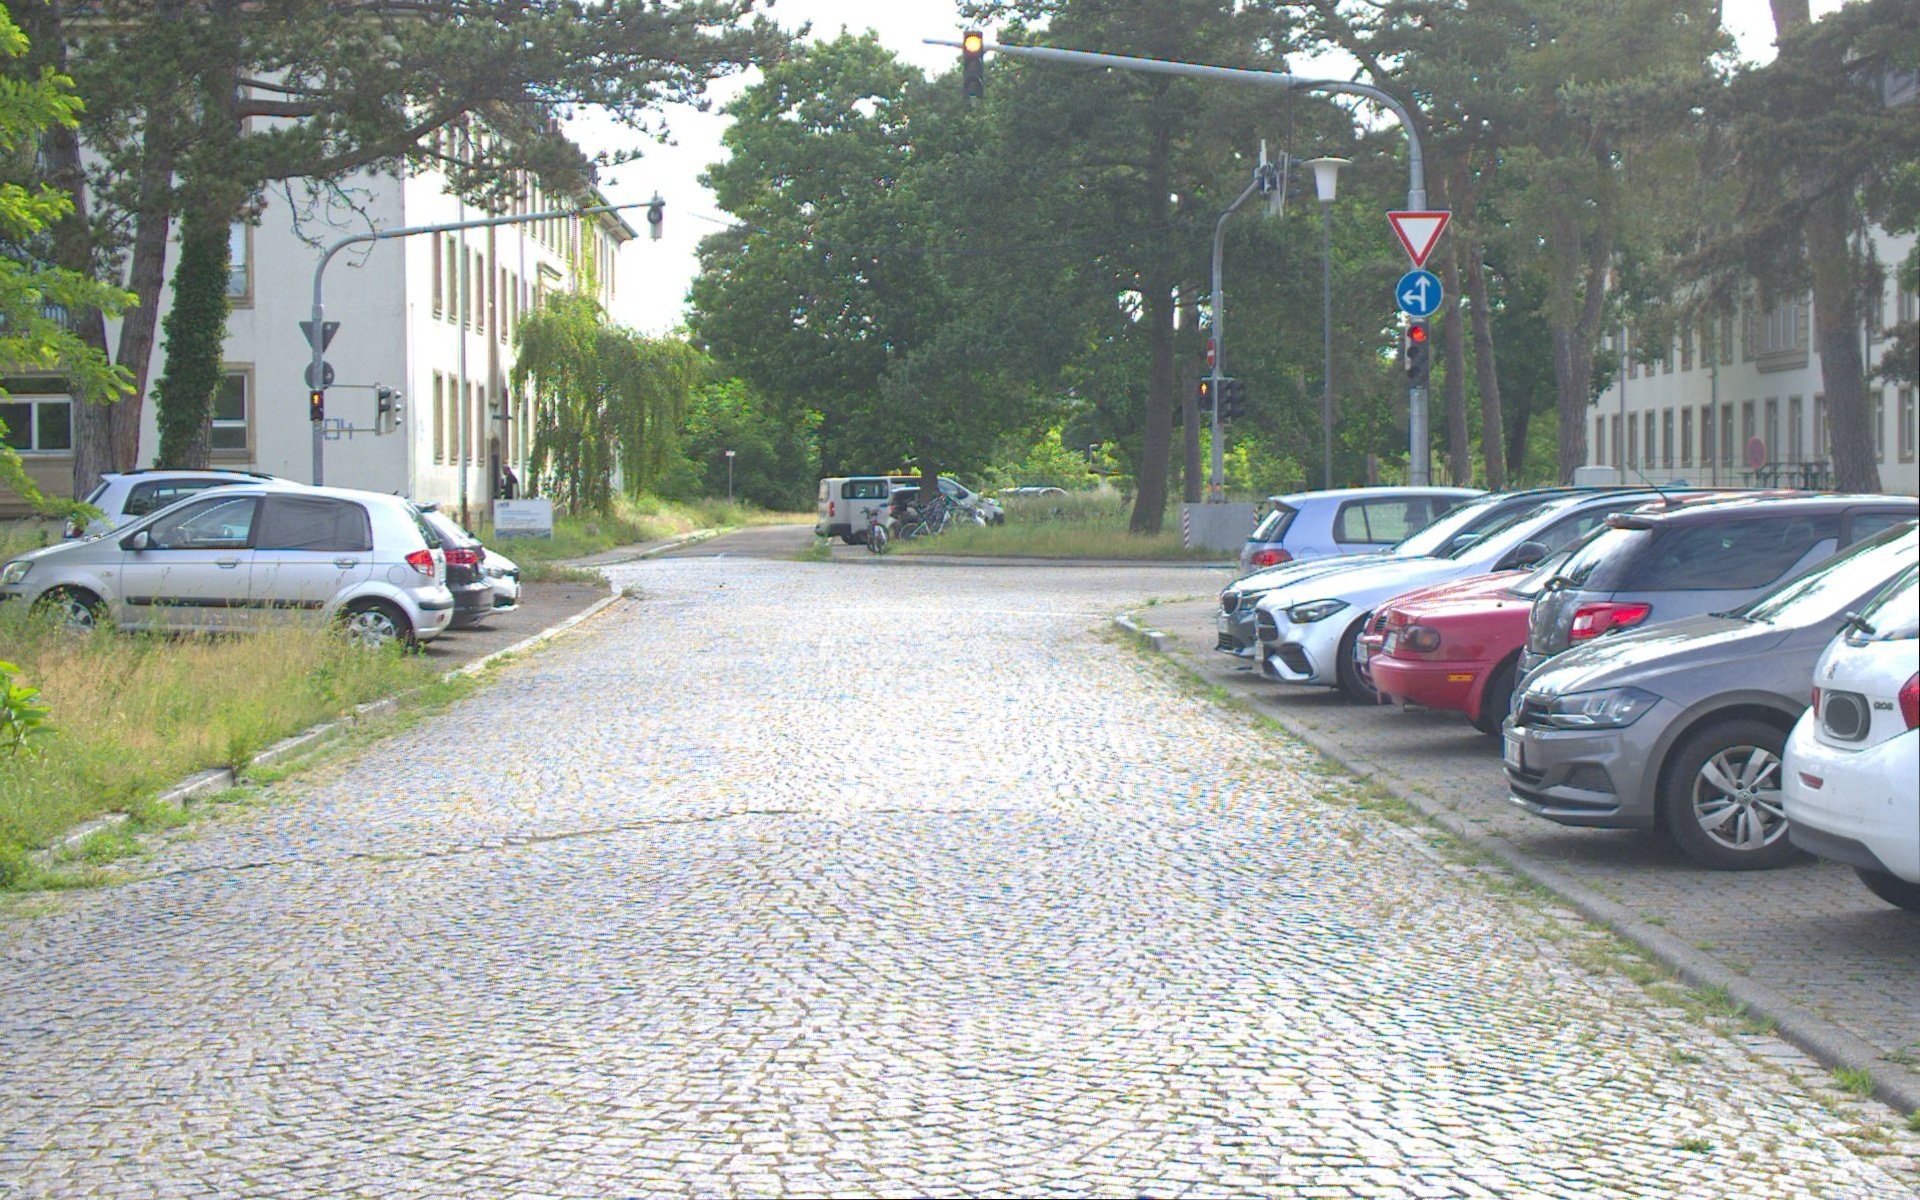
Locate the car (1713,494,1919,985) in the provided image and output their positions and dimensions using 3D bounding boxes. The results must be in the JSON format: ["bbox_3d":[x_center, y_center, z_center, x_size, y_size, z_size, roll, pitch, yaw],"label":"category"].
[{"bbox_3d":[4.411,0.375,11.617,3.292,1.499,1.664,-2,2,-3],"label":"car"}]

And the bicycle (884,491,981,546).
[{"bbox_3d":[-0.643,-1.889,79.510,2.160,1.264,0.813,0,2,-8],"label":"bicycle"}]

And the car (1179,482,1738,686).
[{"bbox_3d":[3.936,-0.159,27.479,4.122,1.538,1.665,0,2,-7],"label":"car"}]

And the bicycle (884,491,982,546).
[{"bbox_3d":[-0.623,-1.876,78.923,2.160,1.264,0.813,0,2,-8],"label":"bicycle"}]

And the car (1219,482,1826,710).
[{"bbox_3d":[3.981,-0.063,24.662,3.986,1.538,1.665,0,2,-7],"label":"car"}]

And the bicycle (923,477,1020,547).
[{"bbox_3d":[0.269,-2.062,80.235,2.160,1.610,0.813,0,2,-8],"label":"bicycle"}]

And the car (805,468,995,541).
[{"bbox_3d":[-1.695,-2.685,96.715,5.049,2.006,2.001,0,2,-12],"label":"car"}]

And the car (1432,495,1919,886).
[{"bbox_3d":[3.998,0.315,14.594,3.597,1.501,1.665,-1,2,-12],"label":"car"}]

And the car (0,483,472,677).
[{"bbox_3d":[-6.155,-0.204,29.025,3.986,1.546,2.001,0,2,-7],"label":"car"}]

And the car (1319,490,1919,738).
[{"bbox_3d":[4.491,0.056,22.445,3.986,1.538,1.664,0,2,-7],"label":"car"}]

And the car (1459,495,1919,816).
[{"bbox_3d":[4.389,0.229,17.481,3.291,1.499,1.665,-1,2,-12],"label":"car"}]

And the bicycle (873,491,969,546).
[{"bbox_3d":[-0.914,-1.920,80.718,2.160,1.264,0.813,0,2,-8],"label":"bicycle"}]

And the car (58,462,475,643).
[{"bbox_3d":[-6.885,-0.496,34.497,3.986,1.744,1.928,0,2,-8],"label":"car"}]

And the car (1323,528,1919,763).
[{"bbox_3d":[3.932,0.232,20.189,3.291,1.263,1.665,0,2,-7],"label":"car"}]

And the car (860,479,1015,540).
[{"bbox_3d":[-0.637,-2.461,93.464,3.986,1.638,2.001,0,2,-7],"label":"car"}]

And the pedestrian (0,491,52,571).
[{"bbox_3d":[-17.692,-1.302,64.813,0.898,1.493,0.904,0,2,0],"label":"pedestrian"}]

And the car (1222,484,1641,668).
[{"bbox_3d":[4.092,-0.230,30.052,3.388,1.538,1.391,0,2,-7],"label":"car"}]

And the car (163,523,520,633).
[{"bbox_3d":[-6.561,-0.250,36.781,3.670,1.090,1.647,0,2,-7],"label":"car"}]

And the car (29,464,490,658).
[{"bbox_3d":[-6.335,-0.390,31.511,3.986,1.700,2.001,0,2,-7],"label":"car"}]

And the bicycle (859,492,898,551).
[{"bbox_3d":[-1.772,-1.714,75.141,0.810,1.264,1.973,0,2,0],"label":"bicycle"}]
